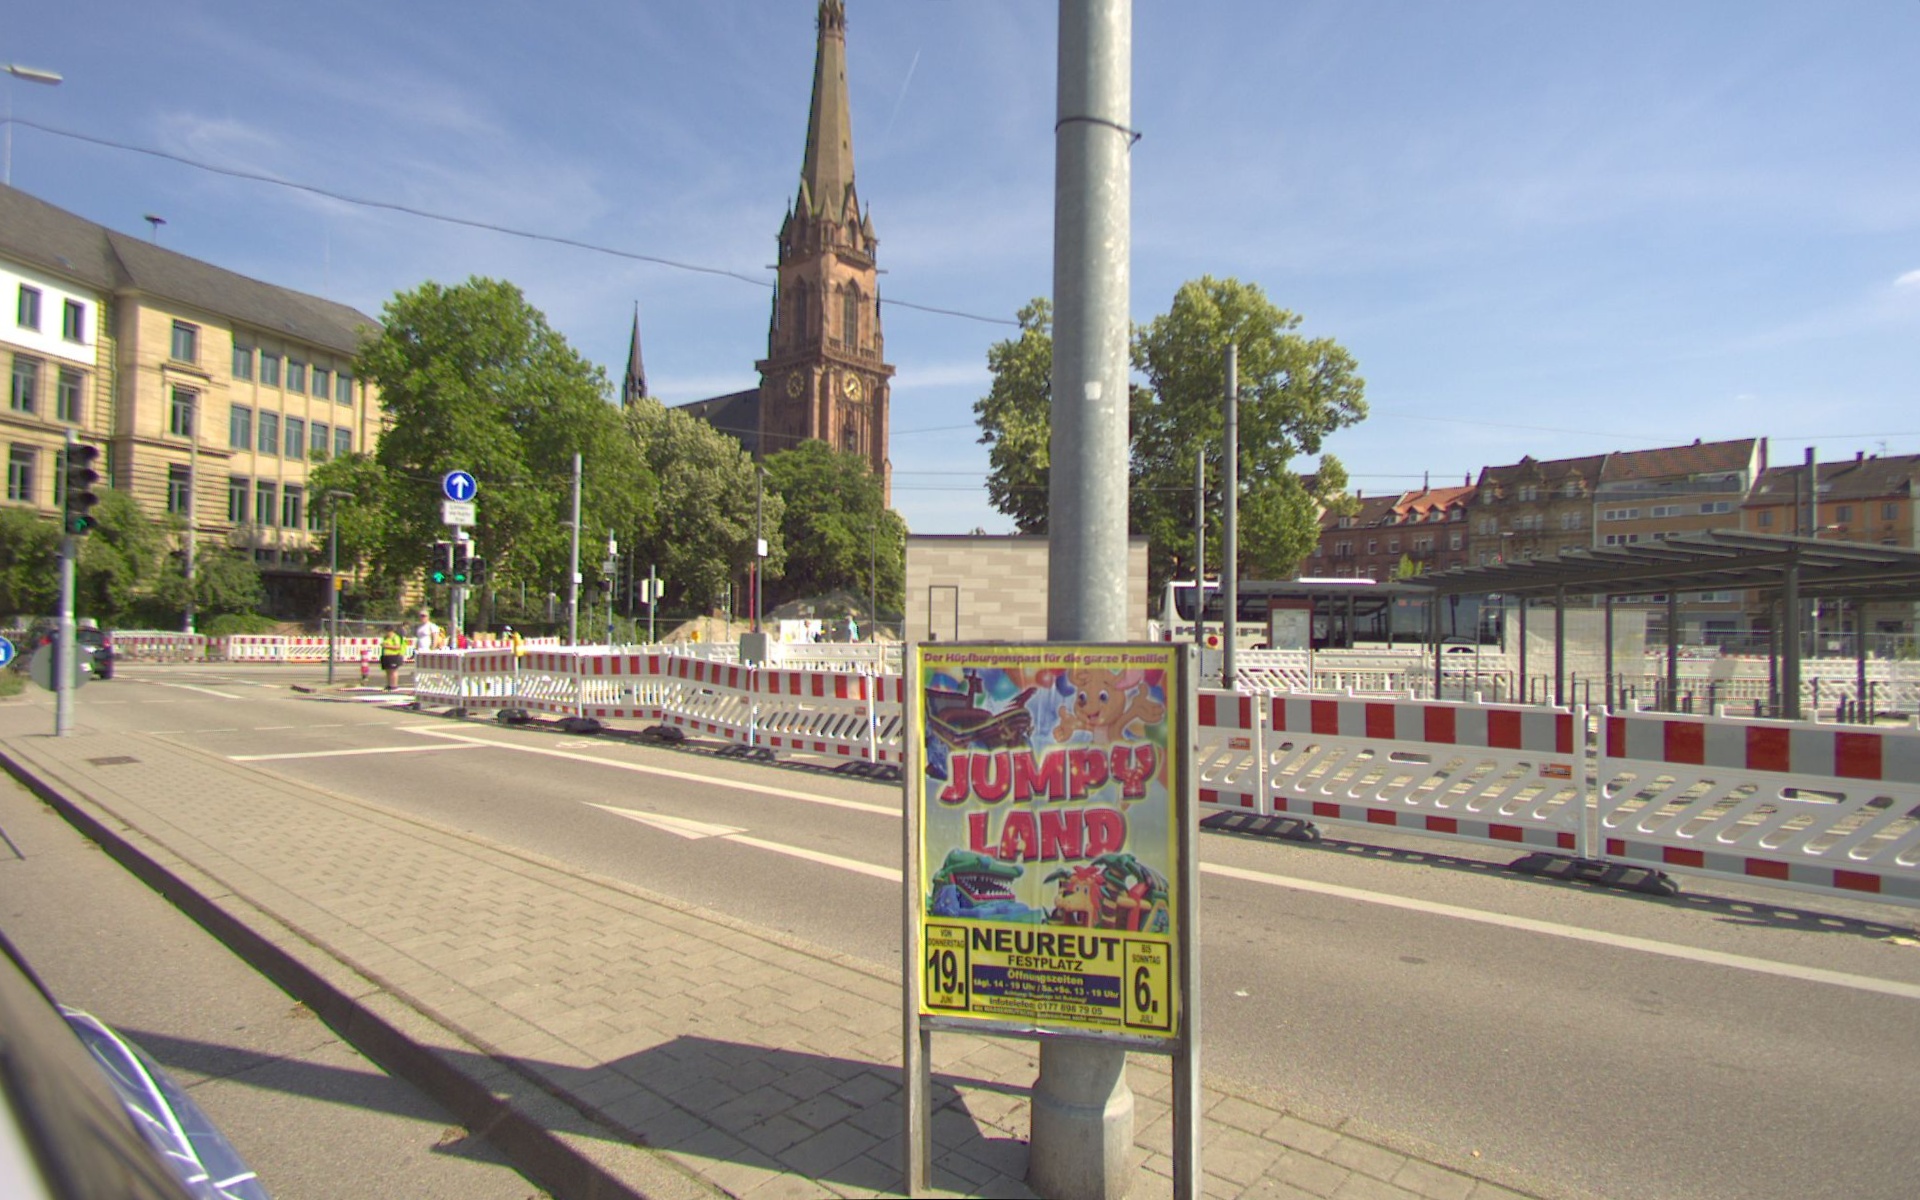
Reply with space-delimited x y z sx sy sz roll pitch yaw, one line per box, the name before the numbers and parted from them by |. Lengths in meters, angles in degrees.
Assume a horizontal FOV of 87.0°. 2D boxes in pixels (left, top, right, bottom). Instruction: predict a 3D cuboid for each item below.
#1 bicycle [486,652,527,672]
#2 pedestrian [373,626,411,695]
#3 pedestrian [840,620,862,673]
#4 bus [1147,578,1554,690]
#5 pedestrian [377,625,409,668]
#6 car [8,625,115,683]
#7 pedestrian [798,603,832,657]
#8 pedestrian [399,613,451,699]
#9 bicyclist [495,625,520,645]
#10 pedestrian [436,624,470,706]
bicycle | -22.120 3.017 49.386 1.643 0.954 0.701 1 -2 2
pedestrian | -13.145 1.389 23.413 0.658 1.555 0.424 -2 0 -43
pedestrian | -3.360 1.420 31.145 0.576 1.628 0.691 0 -2 -13
bus | 12.800 1.128 34.326 12.504 3.516 2.856 0 -2 7
pedestrian | -22.265 1.827 39.755 0.926 1.668 0.845 2 -3 -41
car | -24.238 1.425 27.268 3.816 1.462 1.648 -1 -4 42
pedestrian | -4.439 0.921 30.997 0.781 1.628 0.663 1 -3 -40
pedestrian | -11.593 1.202 21.953 0.829 1.826 0.650 2 -3 -45
bicyclist | -22.096 1.698 49.429 0.858 0.934 0.682 1 -2 2
pedestrian | -10.204 1.297 20.372 0.686 1.628 0.346 -1 -3 42
